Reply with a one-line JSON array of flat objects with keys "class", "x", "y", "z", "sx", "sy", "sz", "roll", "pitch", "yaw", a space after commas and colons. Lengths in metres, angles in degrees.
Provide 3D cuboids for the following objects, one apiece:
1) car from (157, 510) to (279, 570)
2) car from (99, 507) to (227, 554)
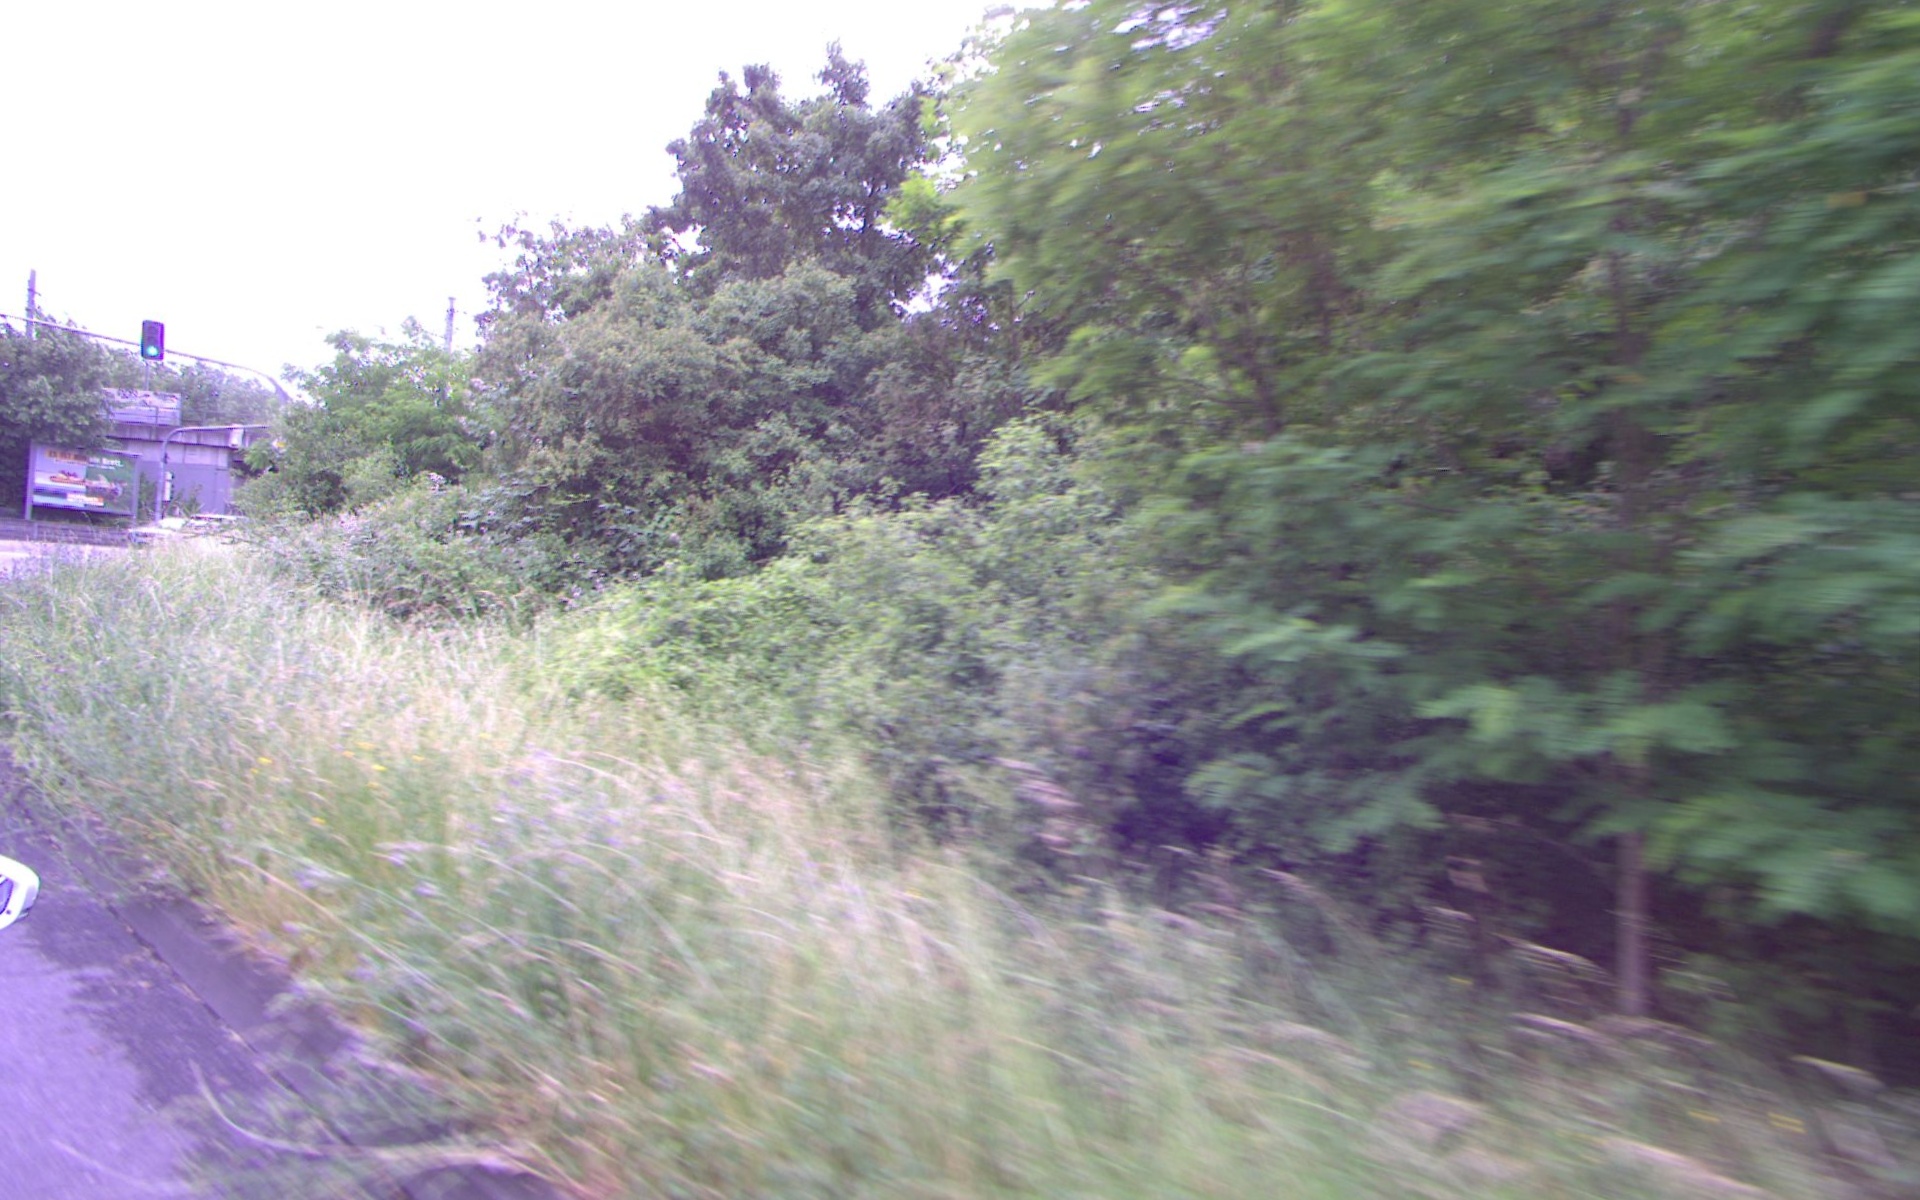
[{"class": "car", "x": -24.288, "y": -1.902, "z": 33.111, "sx": 1.879, "sy": 1.483, "sz": 3.986, "roll": 9, "pitch": -2, "yaw": -17}, {"class": "car", "x": -32.591, "y": -2.814, "z": 41.313, "sx": 1.738, "sy": 1.438, "sz": 4.419, "roll": 6, "pitch": 0, "yaw": -2}]
